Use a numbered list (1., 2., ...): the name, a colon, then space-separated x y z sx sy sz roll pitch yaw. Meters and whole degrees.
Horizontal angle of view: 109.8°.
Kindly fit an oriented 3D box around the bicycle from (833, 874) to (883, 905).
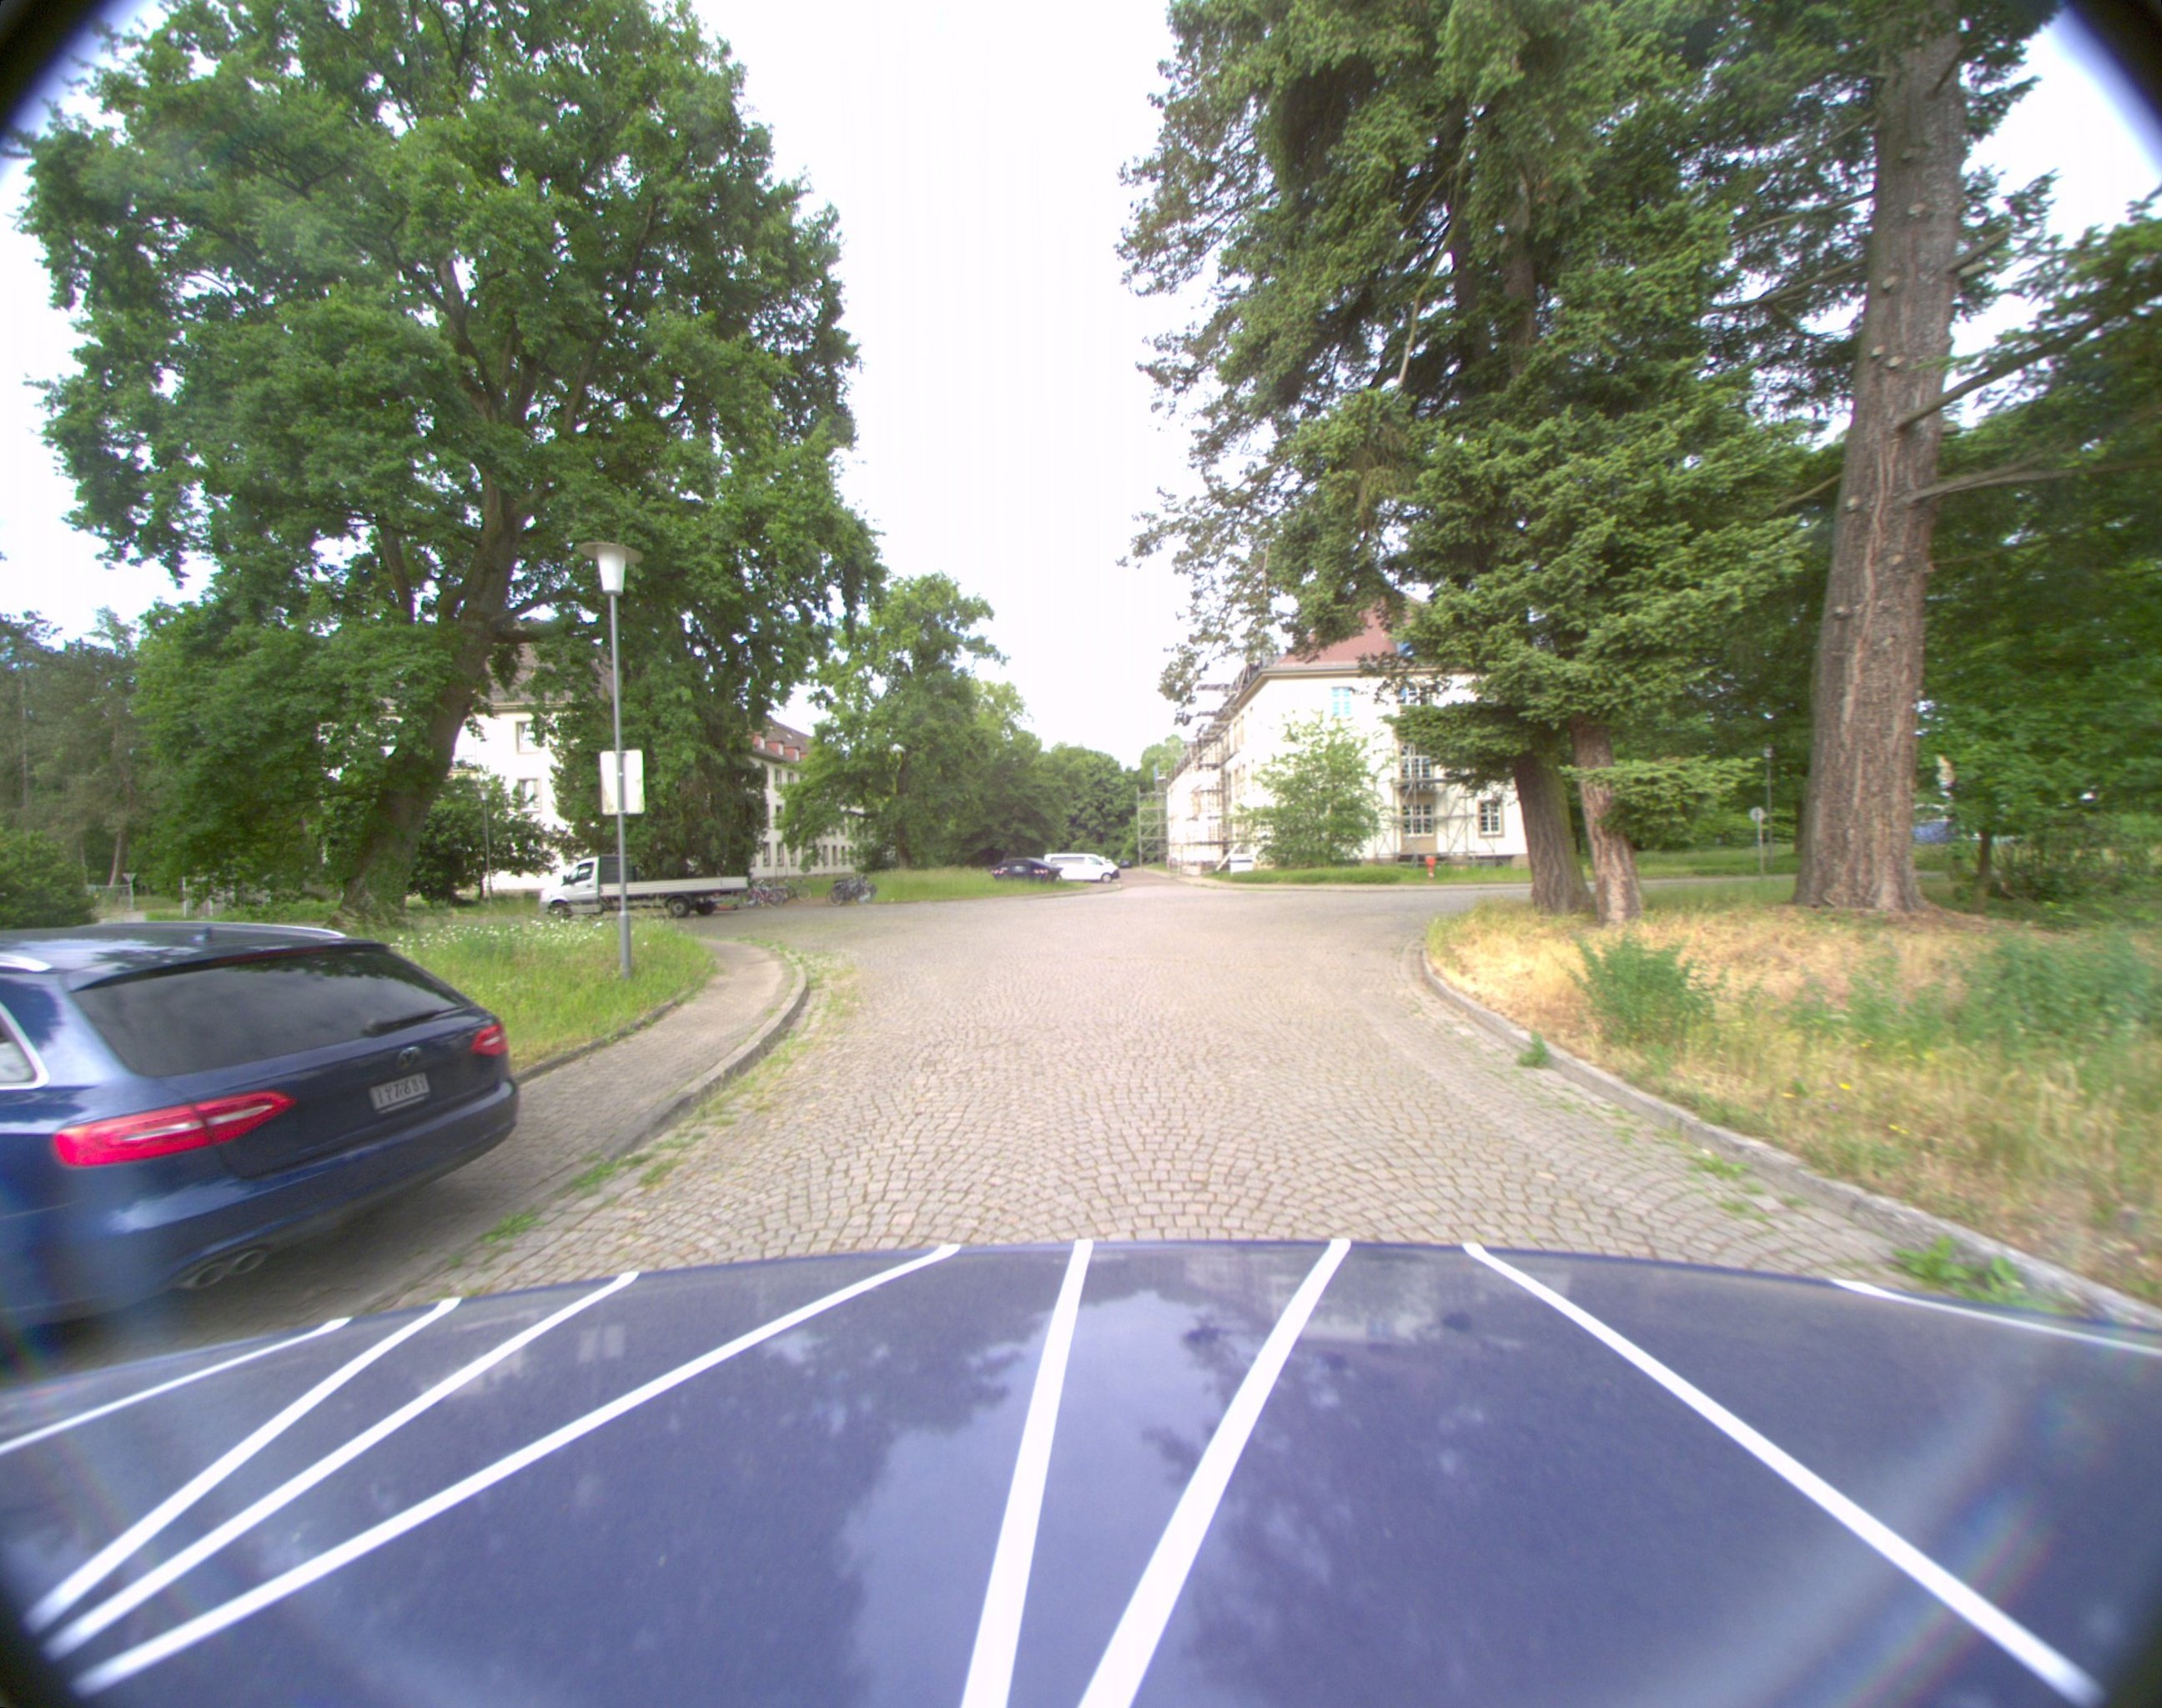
1. bicycle: -9.507 1.514 32.397 1.942 1.163 0.487 -4 1 -26

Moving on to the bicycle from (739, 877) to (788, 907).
1. bicycle: -13.675 1.629 32.740 1.861 1.163 0.487 -3 0 -24

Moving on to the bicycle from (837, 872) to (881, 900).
1. bicycle: -10.580 1.502 36.202 1.941 1.163 0.487 -4 1 -20

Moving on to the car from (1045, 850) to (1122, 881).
1. car: 0.199 0.782 51.918 5.149 2.002 2.000 -1 1 1

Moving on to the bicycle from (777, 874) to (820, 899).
1. bicycle: -13.655 1.576 36.741 1.859 1.163 0.488 0 0 -8

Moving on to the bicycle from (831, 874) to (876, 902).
1. bicycle: -10.661 1.569 35.592 1.941 1.163 0.487 -4 1 -20

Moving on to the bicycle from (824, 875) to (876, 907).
1. bicycle: -9.636 1.525 31.722 1.942 1.163 0.487 -4 1 -26

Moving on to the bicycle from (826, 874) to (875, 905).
1. bicycle: -10.113 1.545 33.330 1.941 1.163 0.487 -4 1 -24

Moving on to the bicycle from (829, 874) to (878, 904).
1. bicycle: -10.159 1.546 33.945 1.941 1.163 0.487 -4 1 -24

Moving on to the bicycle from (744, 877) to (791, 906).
1. bicycle: -13.784 1.633 33.454 1.861 1.163 0.487 -3 0 -20

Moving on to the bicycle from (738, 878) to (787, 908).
1. bicycle: -13.488 1.645 32.168 1.861 1.163 0.487 -3 0 -24

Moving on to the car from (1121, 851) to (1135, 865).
1. car: 7.248 0.629 118.194 1.962 2.002 4.260 -1 0 0

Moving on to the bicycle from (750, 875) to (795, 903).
1. bicycle: -14.463 1.626 35.630 1.862 1.163 0.487 -3 0 -27

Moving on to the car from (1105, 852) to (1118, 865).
1. car: 4.707 0.714 118.012 1.962 2.002 4.260 -1 0 0

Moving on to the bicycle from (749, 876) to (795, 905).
1. bicycle: -13.909 1.638 34.225 1.862 1.163 0.487 -3 0 -27

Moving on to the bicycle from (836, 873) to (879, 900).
1. bicycle: -10.985 1.581 37.451 1.940 1.163 0.537 -4 1 -15

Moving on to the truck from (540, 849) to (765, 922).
1. truck: -15.506 1.136 27.721 7.082 2.352 1.994 -2 -1 1

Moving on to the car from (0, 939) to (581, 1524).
1. car: -4.923 1.210 3.220 4.367 1.430 1.927 -1 0 3

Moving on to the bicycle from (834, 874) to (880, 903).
1. bicycle: -10.236 1.548 34.726 1.941 1.163 0.487 -4 1 -20

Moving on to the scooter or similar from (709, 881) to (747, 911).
1. scooter or similar: -14.595 1.743 31.414 1.308 1.163 0.413 -3 1 0
